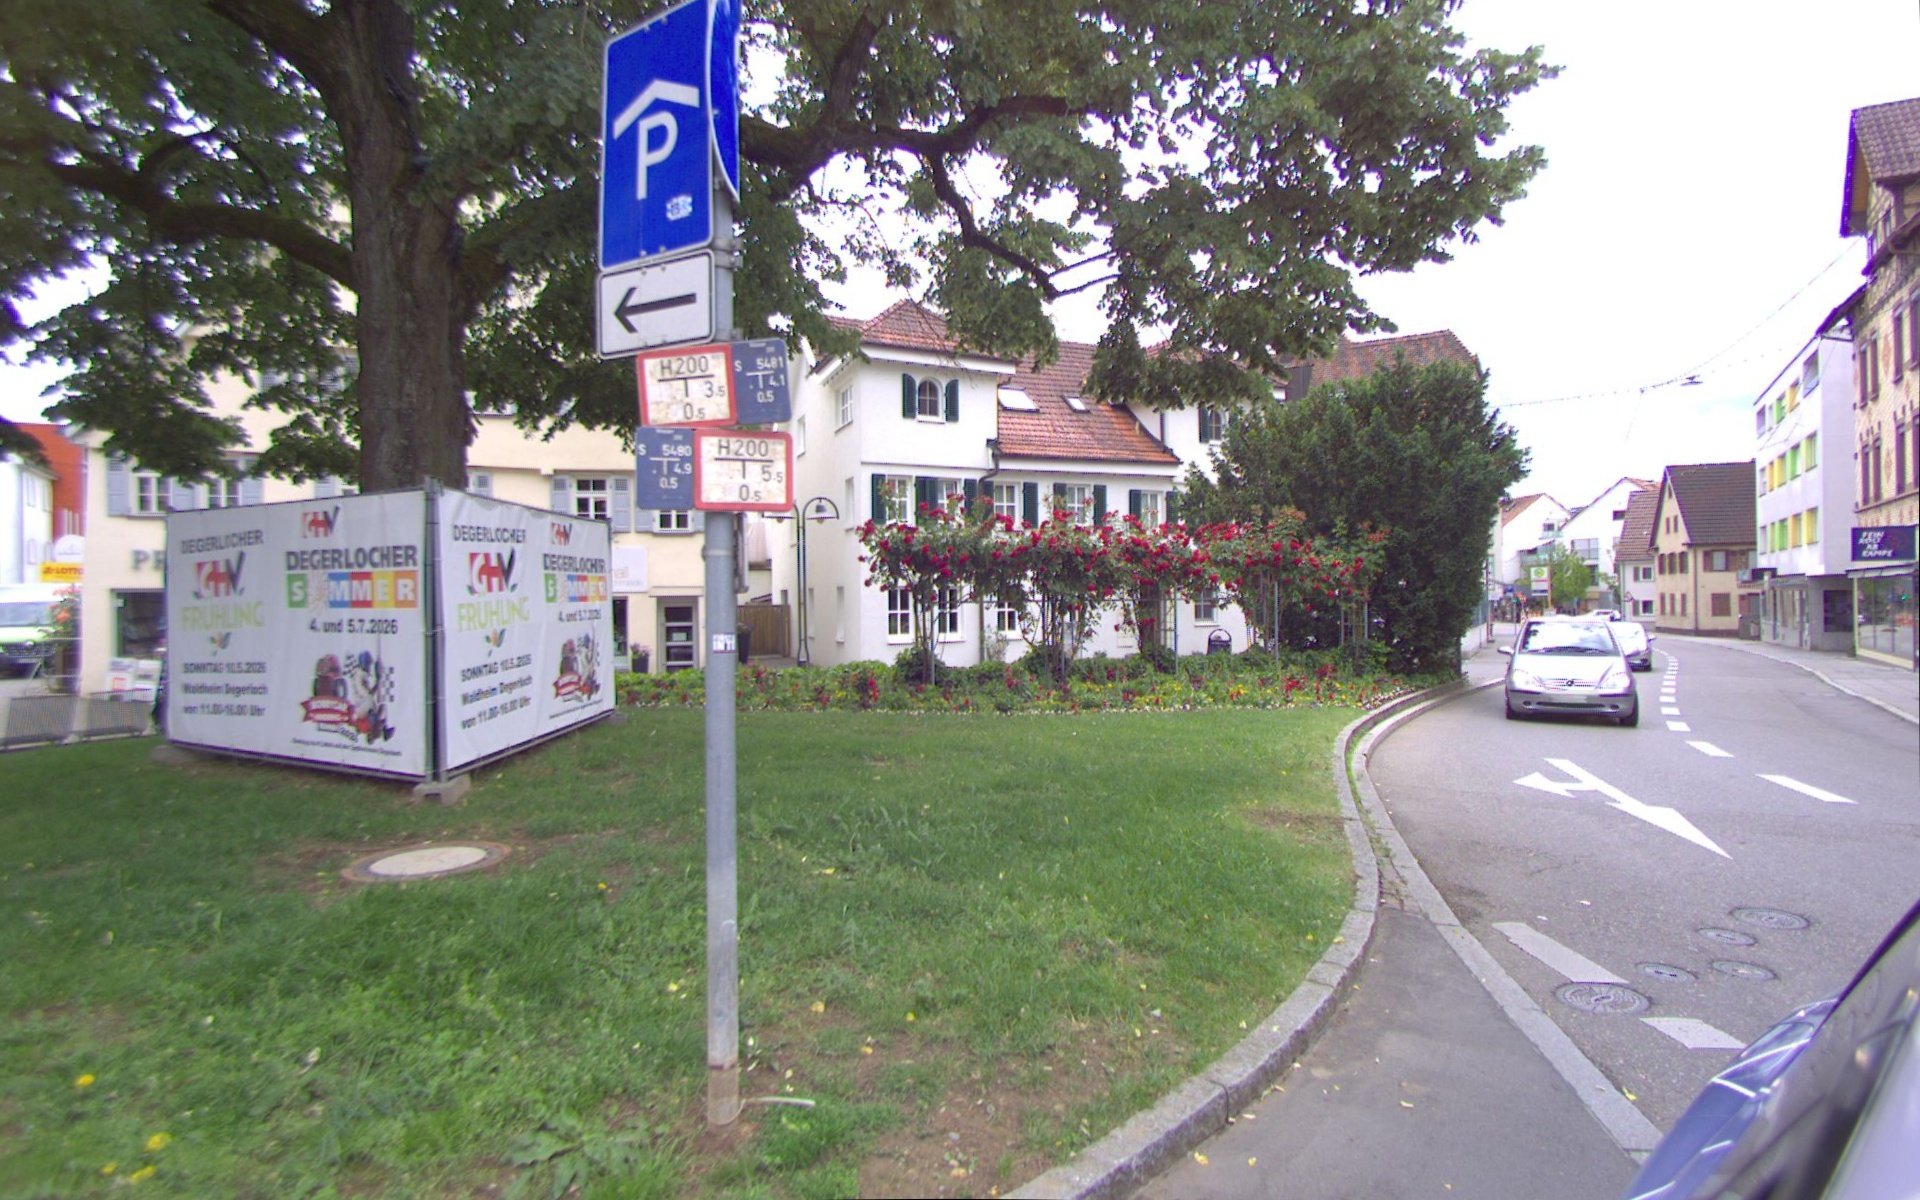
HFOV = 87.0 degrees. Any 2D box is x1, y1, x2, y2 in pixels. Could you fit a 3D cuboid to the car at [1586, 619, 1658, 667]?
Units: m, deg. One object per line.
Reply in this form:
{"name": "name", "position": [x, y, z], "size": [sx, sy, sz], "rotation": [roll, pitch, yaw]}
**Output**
{"name": "car", "position": [20.695, 1.298, 31.634], "size": [1.744, 1.372, 3.951], "rotation": [-2, -2, 34]}

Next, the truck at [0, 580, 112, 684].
{"name": "truck", "position": [-26.397, 0.909, 29.071], "size": [2.790, 2.725, 5.290], "rotation": [-1, -1, -37]}

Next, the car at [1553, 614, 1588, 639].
{"name": "car", "position": [43.965, 1.907, 72.959], "size": [1.984, 1.648, 3.959], "rotation": [-2, -1, 29]}

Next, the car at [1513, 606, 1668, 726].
{"name": "car", "position": [10.107, 0.937, 16.172], "size": [1.883, 1.648, 3.950], "rotation": [0, -1, 34]}
